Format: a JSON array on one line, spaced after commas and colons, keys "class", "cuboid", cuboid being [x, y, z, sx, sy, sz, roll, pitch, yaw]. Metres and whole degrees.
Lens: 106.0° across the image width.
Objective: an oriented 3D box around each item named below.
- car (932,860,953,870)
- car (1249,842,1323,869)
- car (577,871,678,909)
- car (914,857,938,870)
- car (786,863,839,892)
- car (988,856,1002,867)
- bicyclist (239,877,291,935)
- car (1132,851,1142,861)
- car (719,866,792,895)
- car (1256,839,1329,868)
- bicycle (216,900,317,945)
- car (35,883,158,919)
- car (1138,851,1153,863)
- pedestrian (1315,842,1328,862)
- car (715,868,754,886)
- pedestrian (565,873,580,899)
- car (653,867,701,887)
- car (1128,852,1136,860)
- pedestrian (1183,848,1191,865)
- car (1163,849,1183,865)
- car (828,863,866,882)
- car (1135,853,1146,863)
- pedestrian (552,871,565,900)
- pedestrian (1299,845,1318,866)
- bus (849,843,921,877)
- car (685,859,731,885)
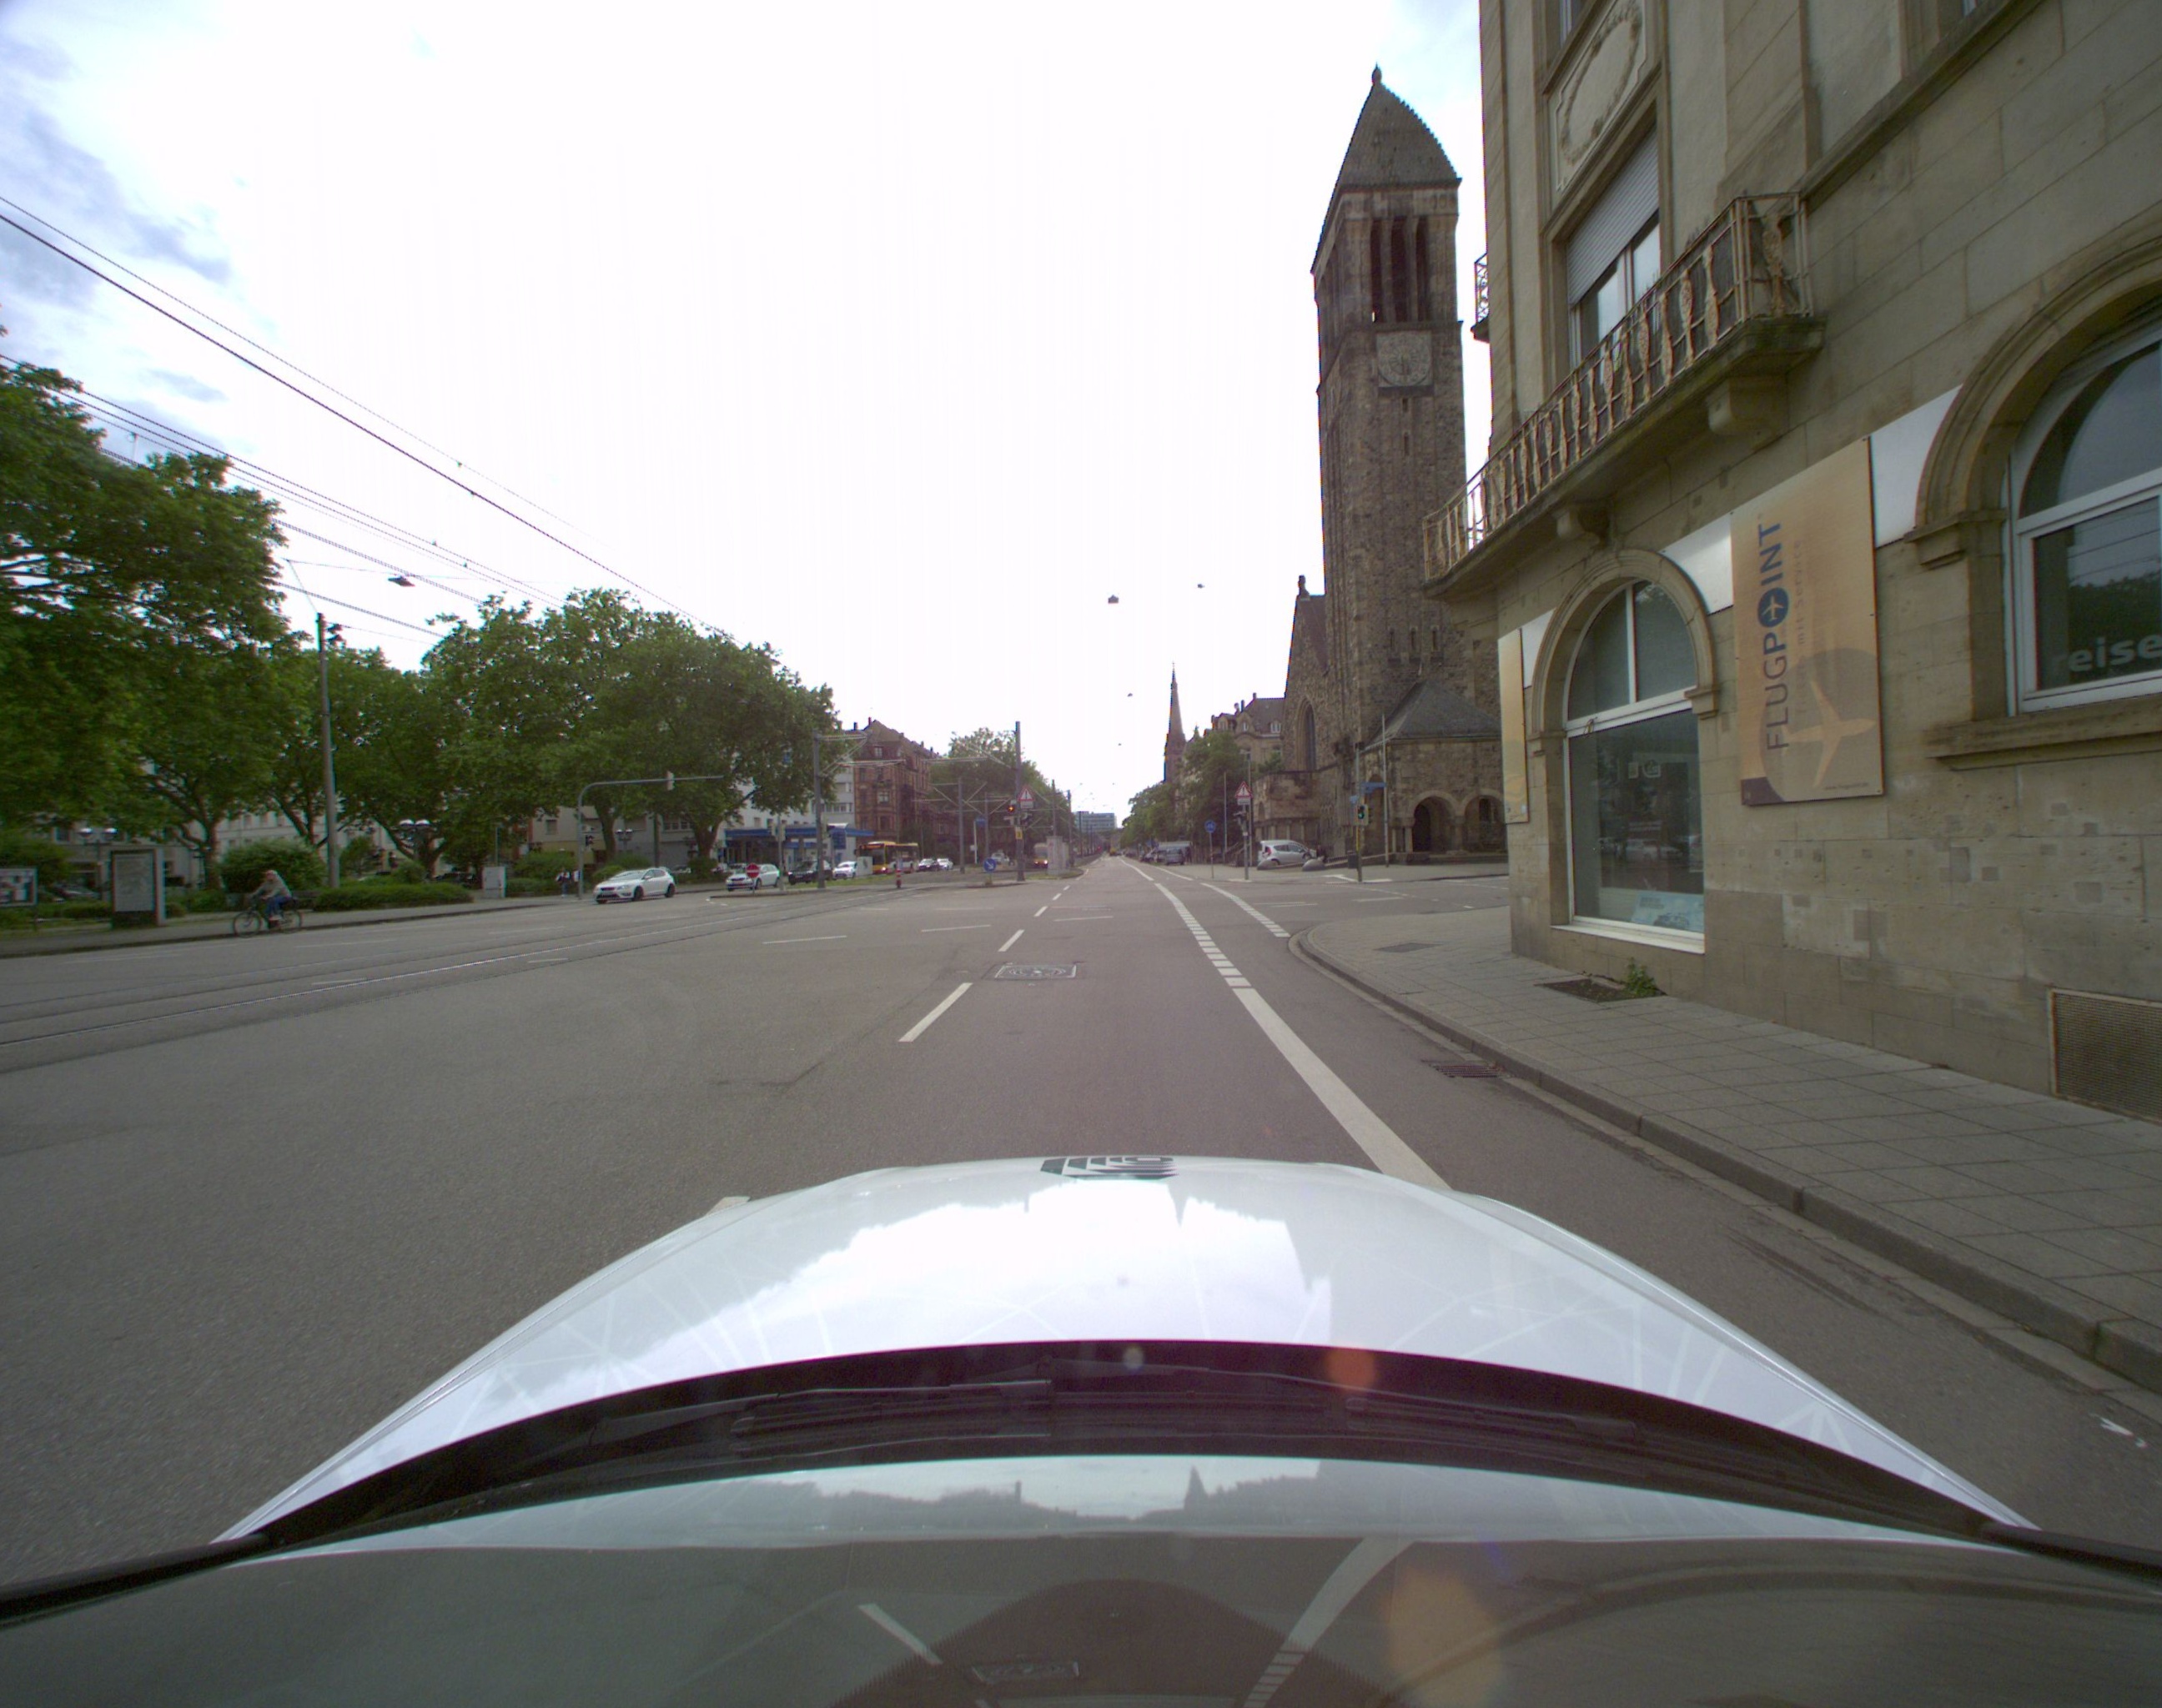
[{"class": "car", "cuboid": [-16.591, 1.307, 97.866, 1.695, 1.221, 3.893, -1, 0, 3]}, {"class": "car", "cuboid": [13.149, 0.079, 52.378, 4.332, 1.636, 1.663, -1, 0, 1]}, {"class": "car", "cuboid": [-19.783, 1.532, 35.762, 1.835, 1.448, 4.415, -1, 0, 2]}, {"class": "car", "cuboid": [-17.260, 1.042, 90.729, 1.695, 1.358, 3.893, -1, 0, 3]}, {"class": "car", "cuboid": [-18.512, 1.592, 56.358, 1.695, 1.783, 5.153, -1, 0, 3]}, {"class": "car", "cuboid": [-14.522, 1.299, 137.740, 1.695, 1.712, 3.893, -1, 0, 3]}, {"class": "bicyclist", "cuboid": [-22.890, 1.443, 22.847, 0.581, 1.562, 0.757, -4, 0, 2]}, {"class": "car", "cuboid": [12.186, 0.454, 178.556, 1.986, 2.013, 4.001, -1, 0, 1]}, {"class": "car", "cuboid": [-19.069, 1.512, 47.993, 1.834, 1.525, 5.705, -1, 0, 2]}, {"class": "car", "cuboid": [14.459, -0.014, 55.823, 4.593, 1.881, 1.663, -1, 0, 1]}, {"class": "bicycle", "cuboid": [-22.860, 1.903, 22.908, 0.724, 1.064, 1.994, -4, 0, 2]}, {"class": "car", "cuboid": [-65.532, 3.095, 54.301, 4.825, 2.101, 2.073, -2, 0, -15]}, {"class": "car", "cuboid": [9.820, 0.427, 123.881, 1.986, 1.820, 4.002, -2, 0, 2]}, {"class": "pedestrian", "cuboid": [14.498, -0.129, 49.071, 0.731, 1.228, 1.067, -1, 0, 17]}, {"class": "car", "cuboid": [-29.624, 1.938, 69.692, 1.695, 1.358, 3.406, -1, 0, 3]}, {"class": "pedestrian", "cuboid": [-25.876, 1.628, 41.442, 0.454, 1.326, 0.469, -2, 0, -5]}, {"class": "car", "cuboid": [-34.839, 1.957, 70.392, 1.986, 1.466, 4.002, -2, 0, 2]}, {"class": "car", "cuboid": [12.850, 0.533, 205.968, 1.986, 2.013, 4.001, -1, 0, 1]}, {"class": "pedestrian", "cuboid": [10.782, 0.249, 82.496, 0.772, 1.647, 0.800, -1, 0, 8]}, {"class": "car", "cuboid": [8.777, 0.289, 77.818, 1.695, 1.459, 3.893, -1, 0, 3]}, {"class": "car", "cuboid": [-18.457, 1.430, 64.358, 1.695, 1.398, 3.893, -1, 0, 3]}, {"class": "car", "cuboid": [11.606, 0.760, 160.094, 1.986, 1.881, 4.002, -2, 0, 2]}, {"class": "pedestrian", "cuboid": [-26.520, 1.588, 41.344, 0.360, 1.478, 0.373, -2, 0, -5]}, {"class": "pedestrian", "cuboid": [13.601, 0.092, 48.678, 0.734, 1.191, 1.494, -1, 0, 2]}, {"class": "bus", "cuboid": [-18.281, 0.496, 77.112, 3.268, 2.856, 12.389, -1, 0, 3]}, {"class": "car", "cuboid": [-32.063, 1.532, 70.144, 1.986, 2.013, 4.002, -2, 0, 2]}]
